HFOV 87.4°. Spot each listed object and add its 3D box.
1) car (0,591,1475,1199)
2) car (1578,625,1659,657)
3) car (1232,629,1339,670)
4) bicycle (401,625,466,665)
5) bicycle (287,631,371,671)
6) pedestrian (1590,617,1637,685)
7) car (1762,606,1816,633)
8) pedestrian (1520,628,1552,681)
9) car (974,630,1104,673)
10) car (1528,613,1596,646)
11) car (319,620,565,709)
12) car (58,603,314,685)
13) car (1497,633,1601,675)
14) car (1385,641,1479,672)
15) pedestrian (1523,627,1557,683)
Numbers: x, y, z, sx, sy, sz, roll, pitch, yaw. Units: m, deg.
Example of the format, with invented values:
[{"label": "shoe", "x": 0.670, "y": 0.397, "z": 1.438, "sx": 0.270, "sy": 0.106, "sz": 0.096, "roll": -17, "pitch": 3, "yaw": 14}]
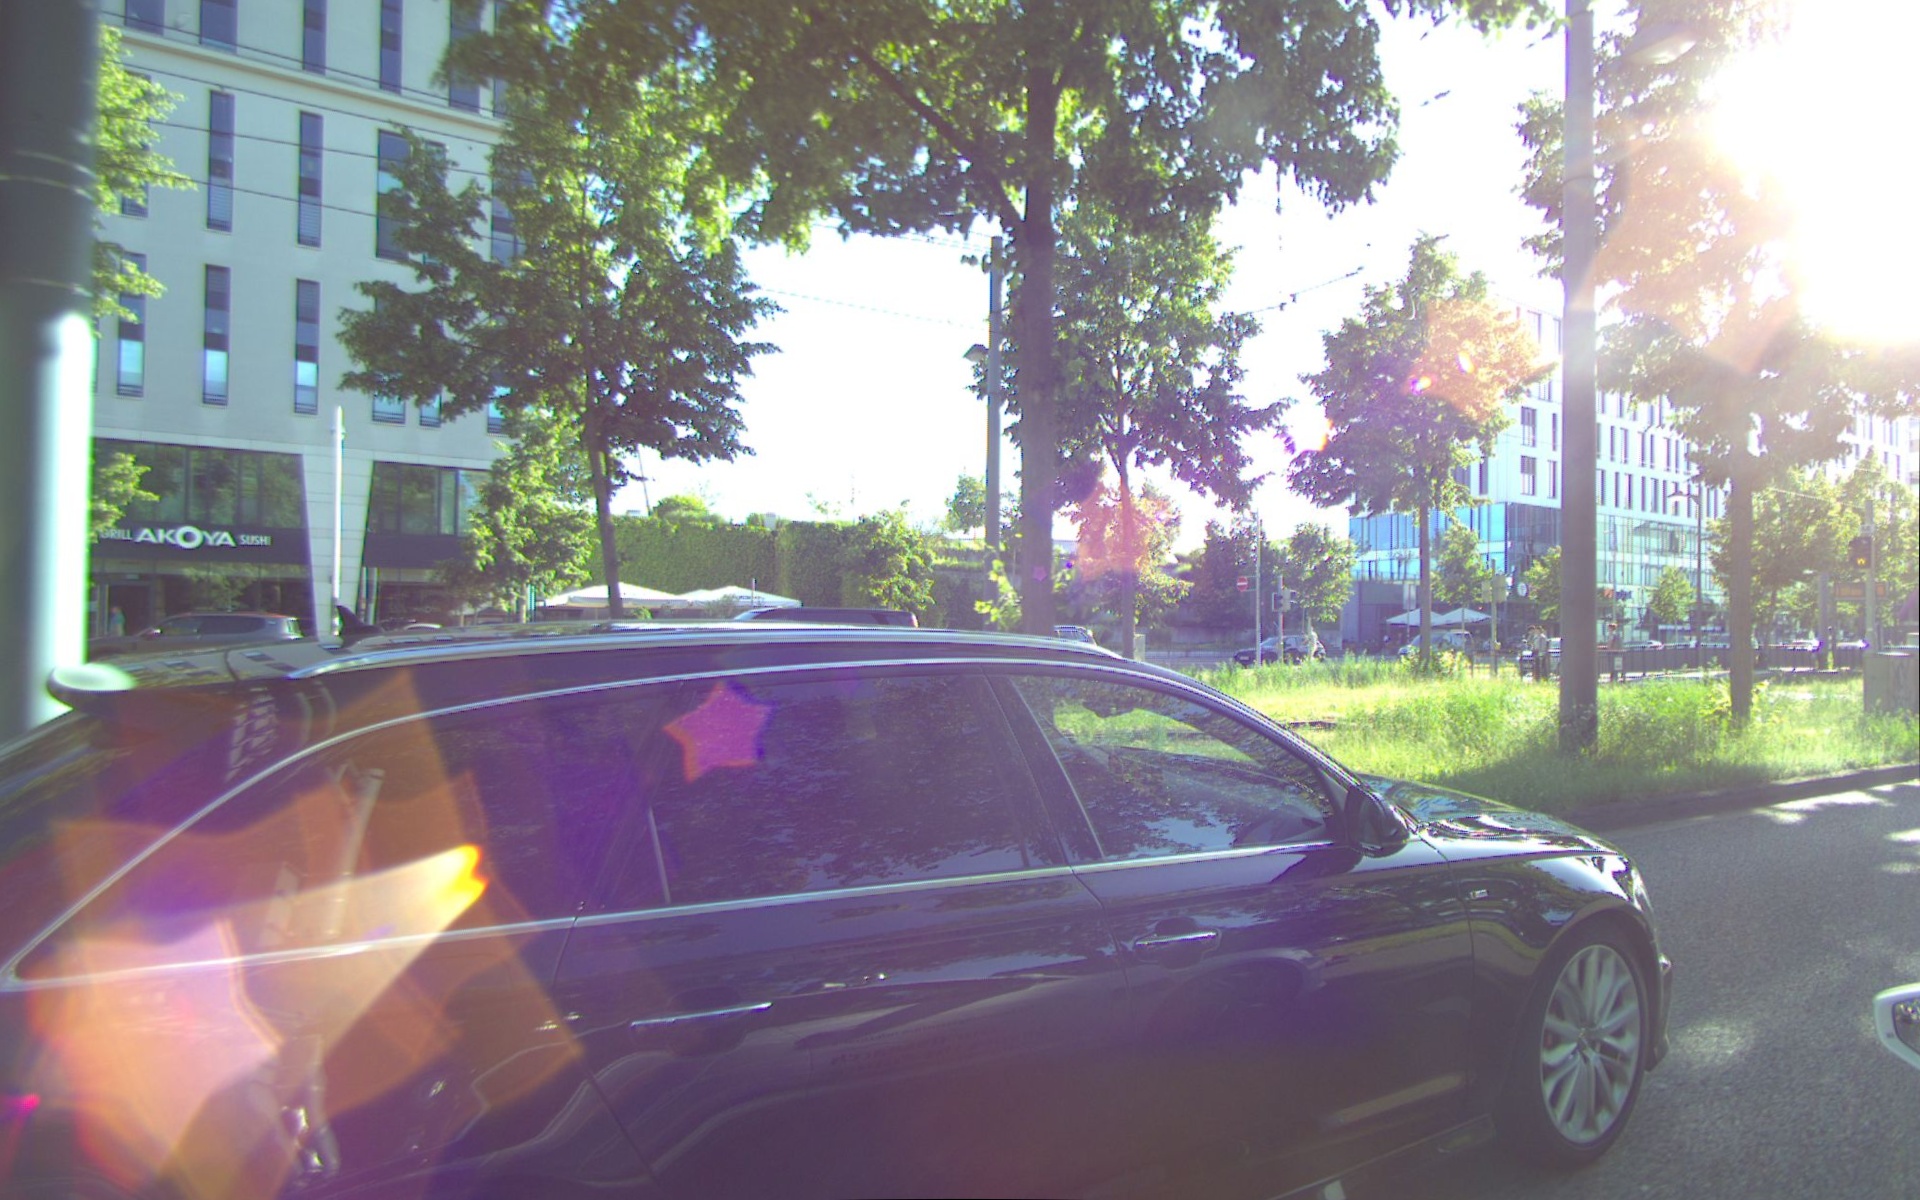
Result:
[{"label": "car", "x": -1.530, "y": 0.749, "z": 1.791, "sx": 5.024, "sy": 1.500, "sz": 1.943, "roll": 2, "pitch": 0, "yaw": -30}, {"label": "car", "x": 38.028, "y": 2.373, "z": 58.006, "sx": 4.555, "sy": 1.694, "sz": 1.985, "roll": 2, "pitch": 0, "yaw": -29}, {"label": "car", "x": 14.361, "y": 2.207, "z": 44.258, "sx": 4.555, "sy": 1.642, "sz": 1.871, "roll": 2, "pitch": 0, "yaw": -29}, {"label": "bicycle", "x": -17.601, "y": 1.502, "z": 33.604, "sx": 1.806, "sy": 1.269, "sz": 0.589, "roll": 2, "pitch": 0, "yaw": -9}, {"label": "bicycle", "x": -20.123, "y": 1.643, "z": 32.079, "sx": 2.215, "sy": 1.214, "sz": 0.729, "roll": 2, "pitch": 0, "yaw": -31}, {"label": "pedestrian", "x": 18.298, "y": 1.423, "z": 28.135, "sx": 0.718, "sy": 1.860, "sz": 0.816, "roll": 2, "pitch": 0, "yaw": -32}, {"label": "car", "x": 69.874, "y": 1.660, "z": 84.669, "sx": 4.508, "sy": 2.040, "sz": 1.985, "roll": 2, "pitch": 0, "yaw": -29}, {"label": "pedestrian", "x": 16.861, "y": 1.596, "z": 29.398, "sx": 0.595, "sy": 1.516, "sz": 0.541, "roll": 2, "pitch": 0, "yaw": -26}, {"label": "car", "x": 2.975, "y": 1.929, "z": 37.550, "sx": 4.555, "sy": 1.454, "sz": 1.871, "roll": 2, "pitch": 0, "yaw": -29}, {"label": "car", "x": 41.563, "y": 2.049, "z": 69.322, "sx": 4.508, "sy": 2.040, "sz": 1.985, "roll": 2, "pitch": 0, "yaw": -29}, {"label": "car", "x": -10.163, "y": 1.238, "z": 19.961, "sx": 4.113, "sy": 1.592, "sz": 1.986, "roll": 2, "pitch": -1, "yaw": -28}, {"label": "car", "x": -18.651, "y": 1.065, "z": 24.549, "sx": 4.724, "sy": 1.795, "sz": 1.982, "roll": 2, "pitch": 0, "yaw": -33}, {"label": "car", "x": 23.665, "y": 2.177, "z": 40.356, "sx": 3.956, "sy": 1.506, "sz": 1.982, "roll": 2, "pitch": 0, "yaw": -32}, {"label": "car", "x": 23.391, "y": 2.804, "z": 49.780, "sx": 4.555, "sy": 1.343, "sz": 1.904, "roll": 2, "pitch": 0, "yaw": -29}, {"label": "pedestrian", "x": 16.520, "y": 1.569, "z": 28.616, "sx": 0.580, "sy": 1.538, "sz": 0.548, "roll": 2, "pitch": 0, "yaw": -25}]
